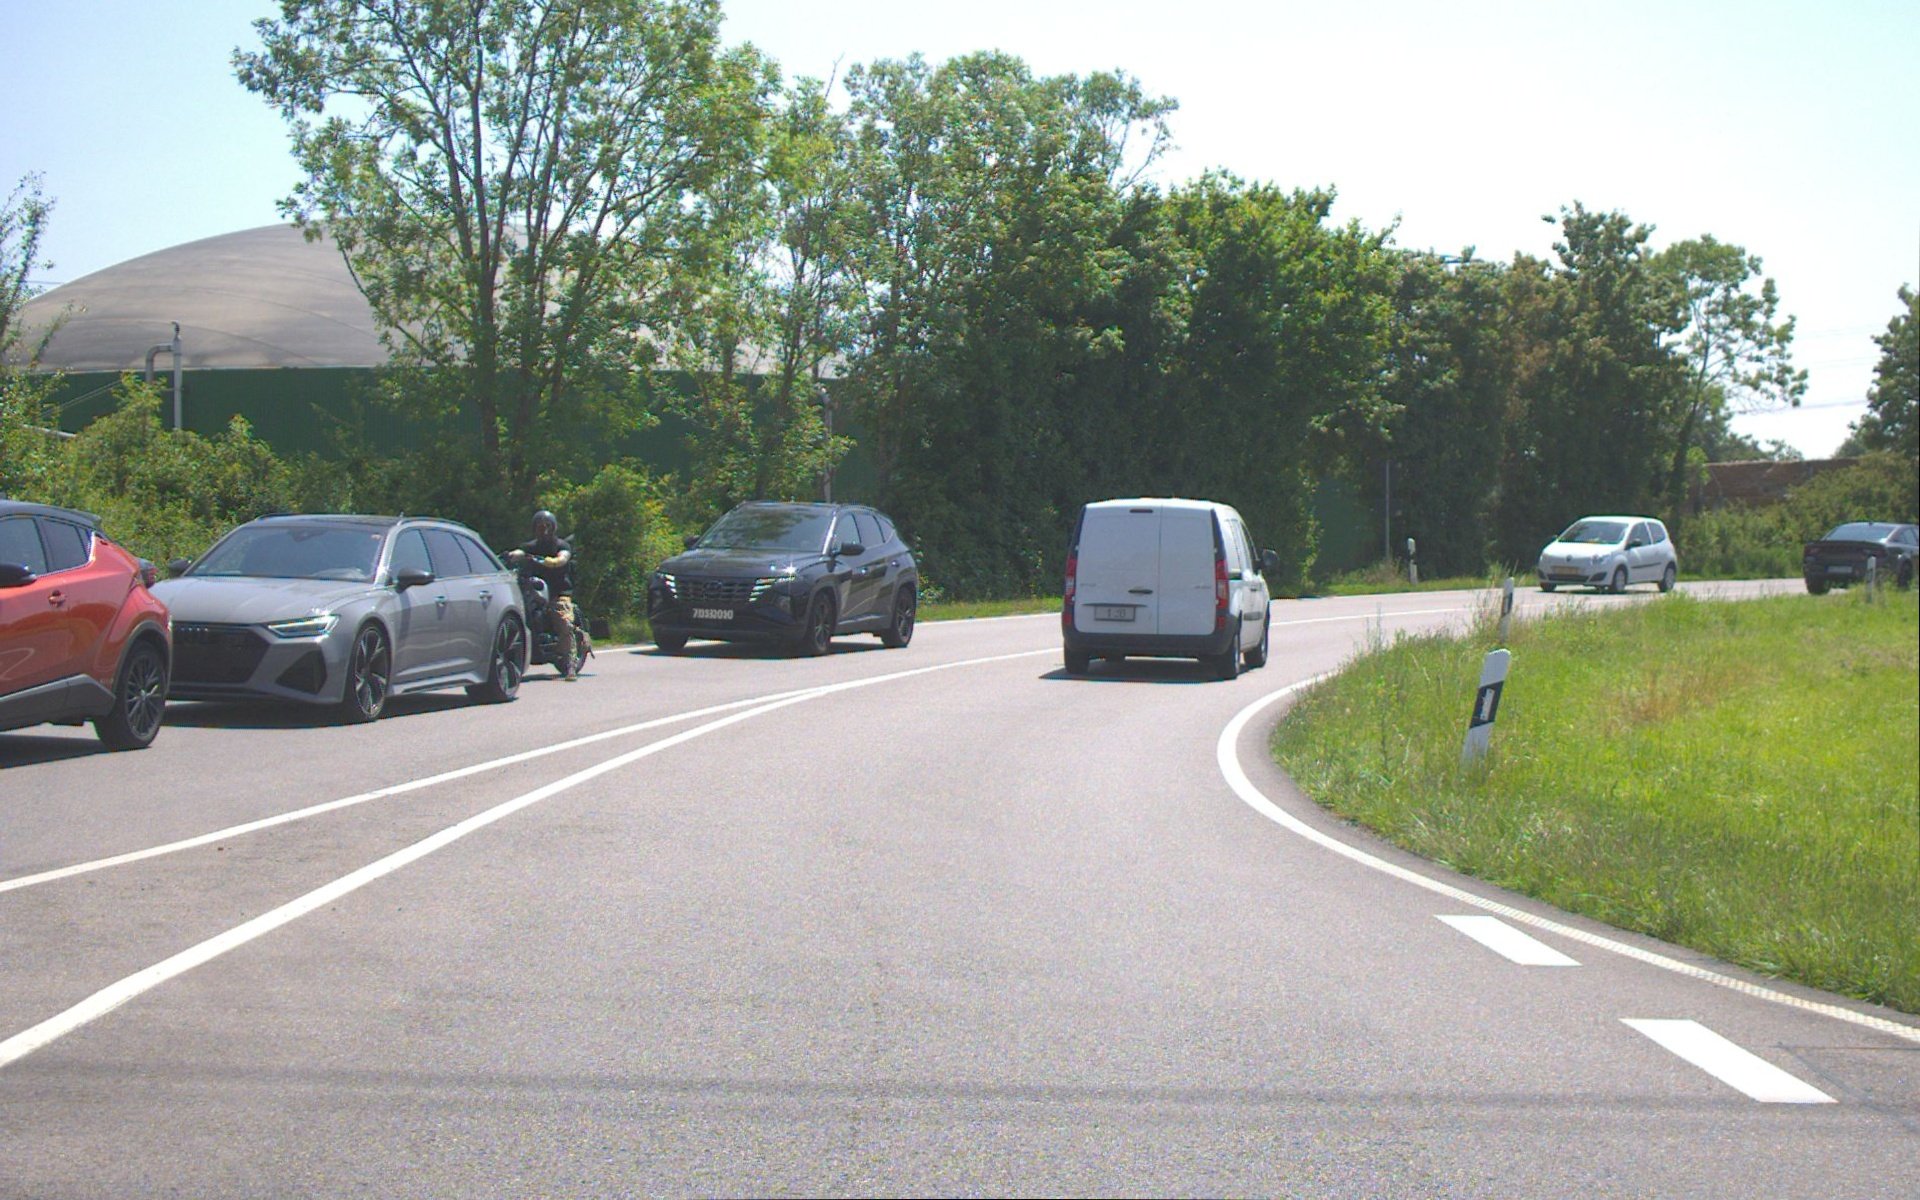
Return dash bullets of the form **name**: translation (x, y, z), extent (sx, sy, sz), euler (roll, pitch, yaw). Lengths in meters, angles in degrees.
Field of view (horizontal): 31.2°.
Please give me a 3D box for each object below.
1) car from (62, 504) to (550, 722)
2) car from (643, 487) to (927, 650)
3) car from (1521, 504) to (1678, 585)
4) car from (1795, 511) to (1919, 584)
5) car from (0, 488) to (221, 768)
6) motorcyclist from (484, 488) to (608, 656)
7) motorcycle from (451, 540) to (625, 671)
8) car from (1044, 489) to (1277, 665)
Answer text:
- **car**: translation (-4.765, 0.059, 25.857), extent (1.842, 1.455, 4.806), euler (1, 1, 12)
- **car**: translation (-1.848, -0.383, 37.756), extent (1.703, 1.632, 4.246), euler (2, 2, 18)
- **car**: translation (12.508, -1.067, 67.110), extent (1.540, 1.438, 3.600), euler (4, 2, 36)
- **car**: translation (18.103, -1.039, 68.447), extent (1.722, 1.415, 3.738), euler (0, 1, 33)
- **car**: translation (-6.091, 0.126, 20.029), extent (1.800, 1.510, 4.390), euler (2, 2, 12)
- **motorcyclist**: translation (-3.752, -0.256, 31.236), extent (0.781, 1.490, 1.130), euler (1, 1, 12)
- **motorcycle**: translation (-3.801, 0.031, 31.161), extent (0.782, 1.119, 2.428), euler (2, 1, 12)
- **car**: translation (2.136, -0.246, 35.655), extent (1.904, 1.726, 3.820), euler (0, 1, 11)
